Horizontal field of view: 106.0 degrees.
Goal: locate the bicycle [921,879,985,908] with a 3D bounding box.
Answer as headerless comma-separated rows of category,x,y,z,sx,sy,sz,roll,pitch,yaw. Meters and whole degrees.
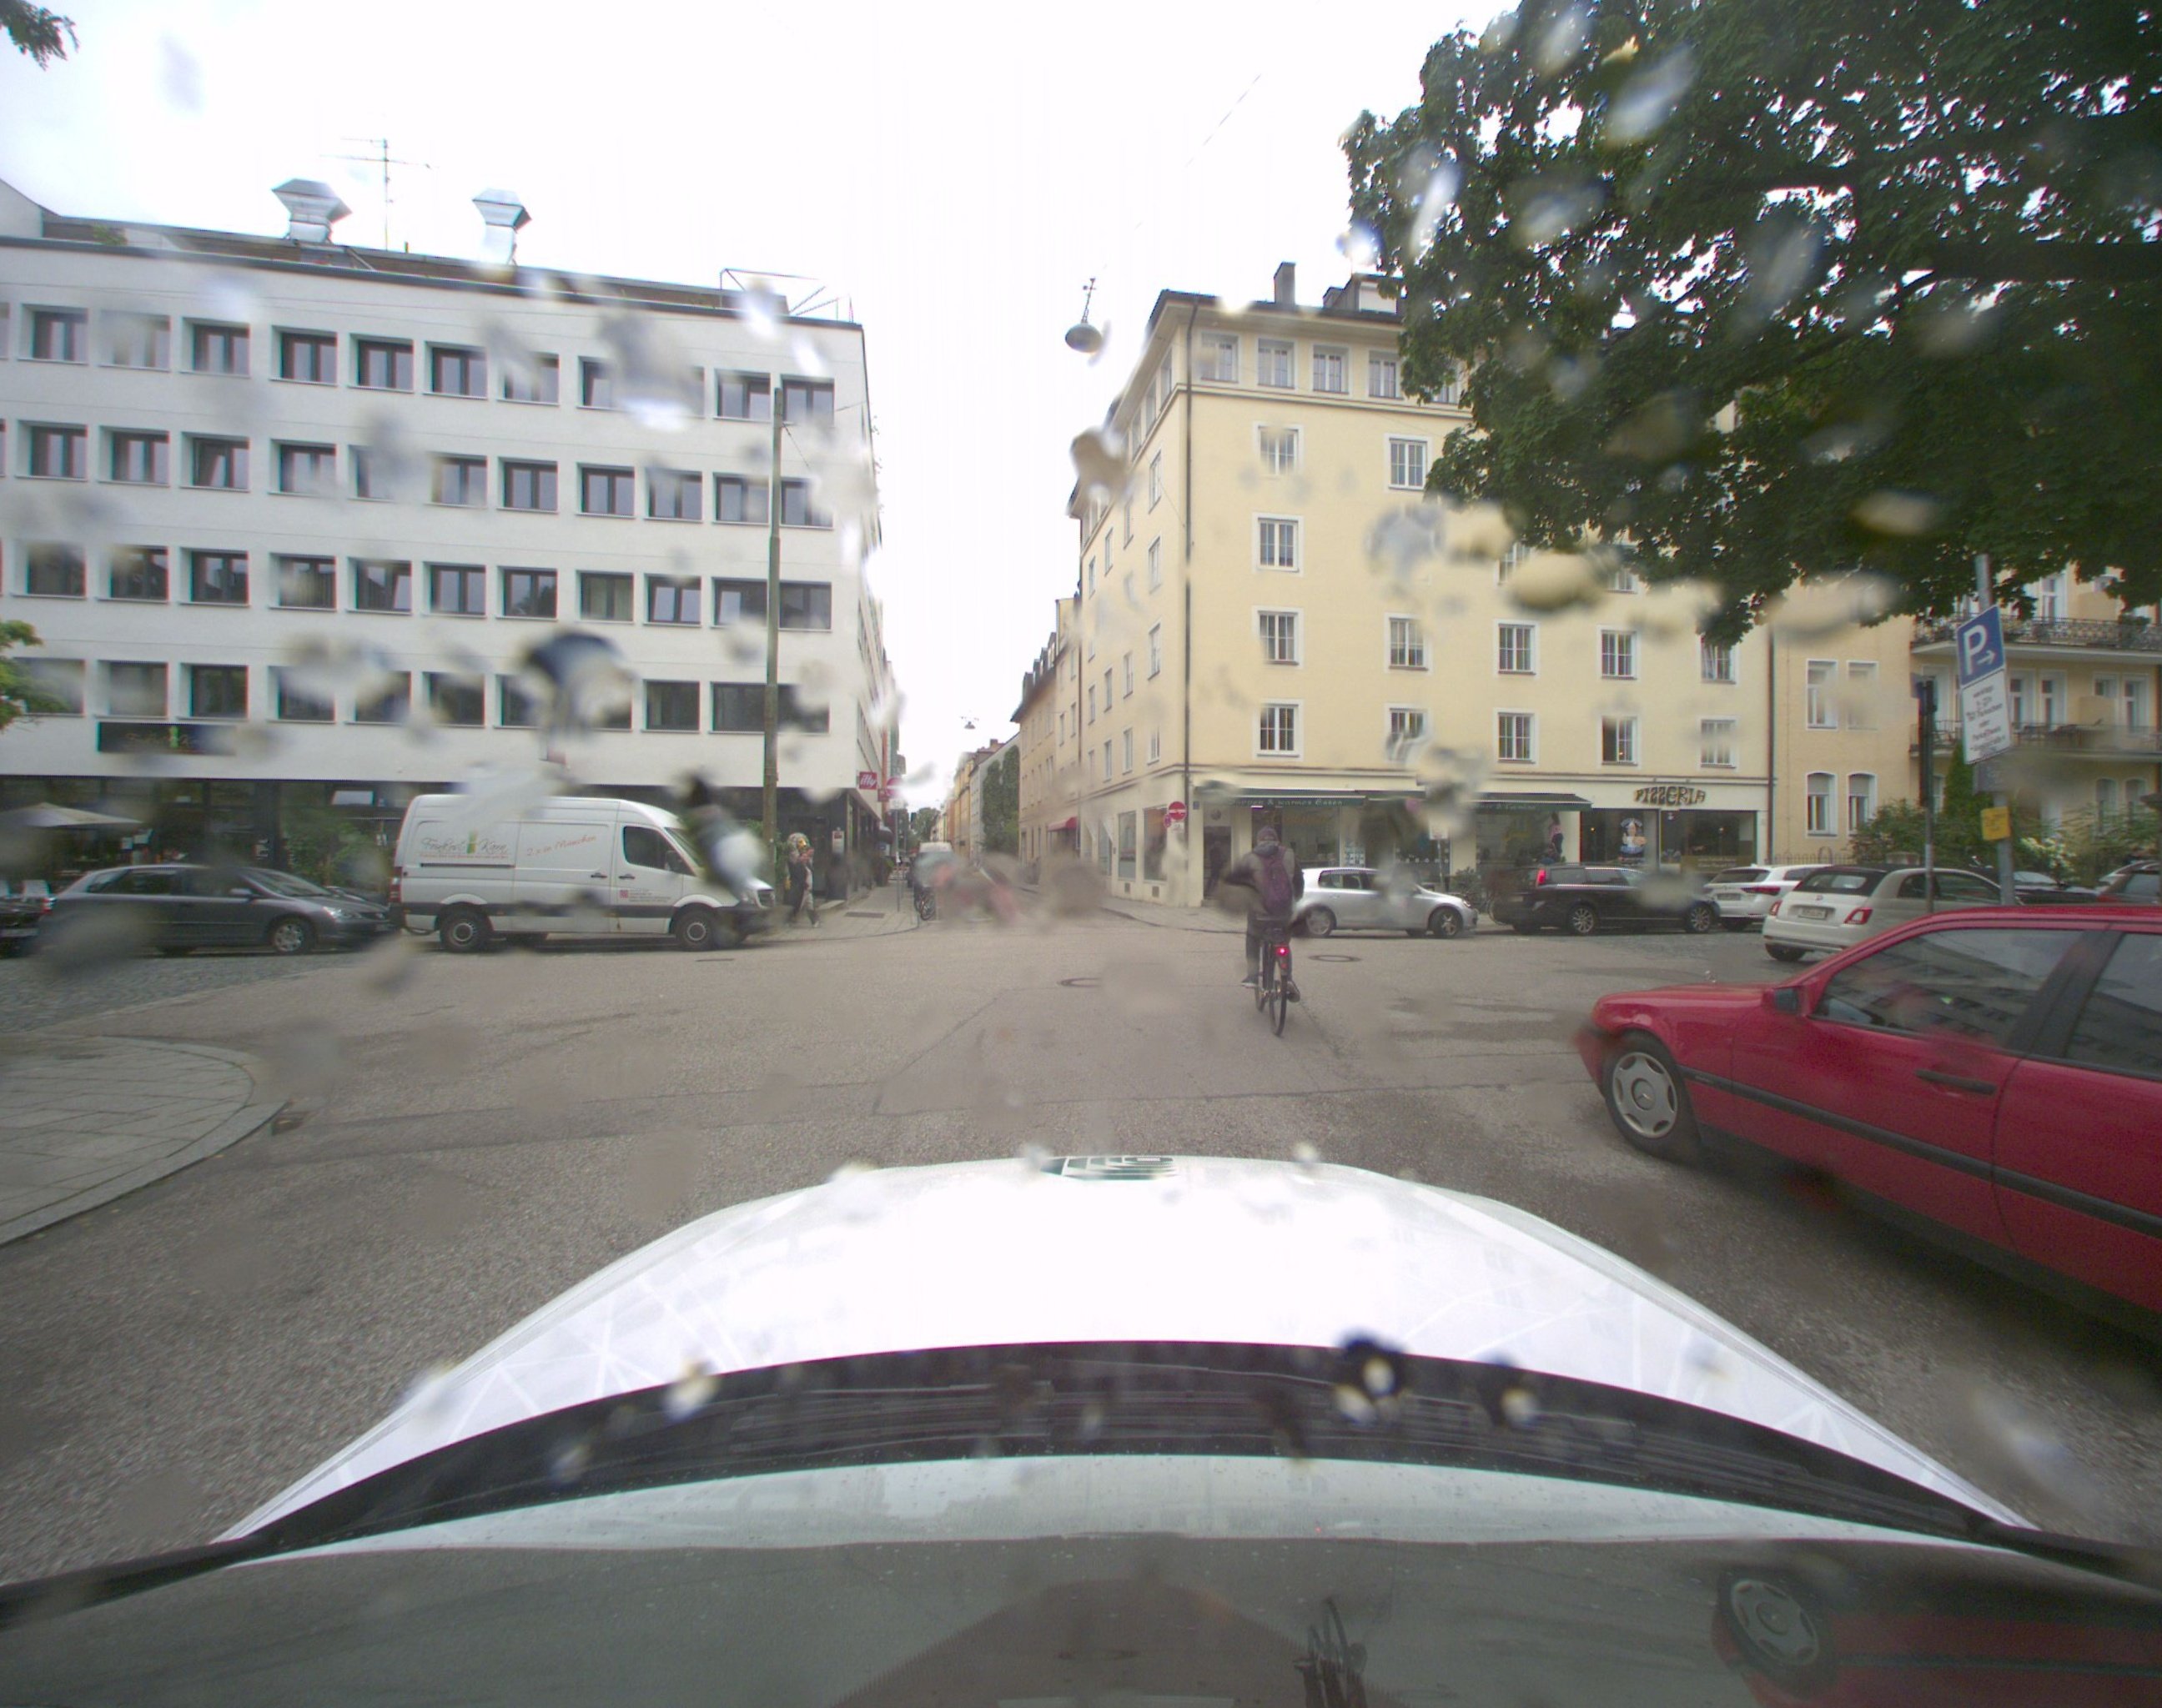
bicycle,-3.977,1.215,25.244,1.914,0.863,0.615,0,0,-15

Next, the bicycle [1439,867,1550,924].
bicycle,9.766,0.976,19.284,2.081,1.253,1.104,1,1,-8

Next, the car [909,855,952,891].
car,-6.946,0.840,37.685,1.833,1.535,3.985,0,0,-10

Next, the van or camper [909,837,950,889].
van or camper,-7.790,0.443,42.228,1.993,2.540,4.745,0,0,-9

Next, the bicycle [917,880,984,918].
bicycle,-3.536,1.218,22.046,1.757,0.968,0.592,0,0,-15

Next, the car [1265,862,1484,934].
car,6.053,0.937,17.166,3.971,1.416,1.821,0,-4,2

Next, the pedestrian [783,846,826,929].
pedestrian,-6.074,0.730,17.882,0.794,1.746,0.766,2,2,-24

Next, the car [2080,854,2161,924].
car,27.226,0.842,19.862,3.983,1.638,1.748,0,-3,-7

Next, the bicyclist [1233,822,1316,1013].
bicyclist,1.706,0.532,7.259,0.603,1.606,0.758,0,0,4

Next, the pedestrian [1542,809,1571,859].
pedestrian,15.343,-0.626,26.280,0.552,1.575,0.576,2,-1,-9

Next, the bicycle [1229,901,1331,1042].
bicycle,1.702,0.963,7.164,0.636,1.004,1.576,0,0,5

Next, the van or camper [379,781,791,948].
van or camper,-8.430,0.178,14.413,5.900,2.677,1.868,0,-2,-8

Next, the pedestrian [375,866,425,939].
pedestrian,-14.271,1.006,17.068,0.644,1.481,0.595,-1,-3,35

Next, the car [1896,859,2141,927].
car,21.379,0.890,18.650,3.986,1.449,1.805,0,-4,-10

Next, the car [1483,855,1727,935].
car,11.181,0.857,17.505,4.335,1.592,1.815,1,-2,-10

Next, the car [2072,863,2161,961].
car,17.666,0.845,12.223,4.185,1.407,1.701,0,-1,-10

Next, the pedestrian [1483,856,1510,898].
pedestrian,13.112,0.721,25.705,0.515,1.297,0.577,0,-1,-30

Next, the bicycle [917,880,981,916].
bicycle,-3.681,1.216,22.717,1.739,0.968,0.540,0,0,-15

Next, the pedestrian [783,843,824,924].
pedestrian,-6.357,0.669,18.651,0.781,1.783,0.614,2,2,-24

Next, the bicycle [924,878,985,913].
bicycle,-3.729,1.207,24.041,1.739,0.968,0.540,0,0,-15

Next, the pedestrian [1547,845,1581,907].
pedestrian,13.482,0.592,22.728,0.602,1.702,0.542,0,1,-7

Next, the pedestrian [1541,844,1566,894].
pedestrian,14.871,0.467,25.646,0.435,1.551,0.530,0,0,-26

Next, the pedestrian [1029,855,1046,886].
pedestrian,-2.479,0.940,46.574,0.878,1.778,0.771,0,0,-10

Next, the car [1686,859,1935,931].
car,16.217,0.911,18.201,4.335,1.503,1.814,1,-3,-10

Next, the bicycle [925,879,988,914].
bicycle,-3.592,1.214,23.431,1.739,0.968,0.540,0,0,-15

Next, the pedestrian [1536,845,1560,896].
pedestrian,14.444,0.511,25.203,0.550,1.537,0.437,1,2,40

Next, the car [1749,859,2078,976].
car,11.793,0.831,11.661,3.317,1.487,1.624,0,1,-7

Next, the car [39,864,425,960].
car,-13.753,0.910,13.492,4.054,1.429,1.792,0,-3,-12

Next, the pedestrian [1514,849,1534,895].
pedestrian,13.959,0.549,25.640,0.507,1.433,0.586,0,-1,32

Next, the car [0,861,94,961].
car,-18.678,0.892,12.623,4.120,1.544,1.795,0,-2,-7

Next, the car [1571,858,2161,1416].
car,3.666,0.757,2.648,1.663,1.435,4.214,1,0,1

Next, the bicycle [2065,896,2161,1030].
bicycle,8.667,0.840,6.048,0.479,1.040,1.803,0,-3,0
